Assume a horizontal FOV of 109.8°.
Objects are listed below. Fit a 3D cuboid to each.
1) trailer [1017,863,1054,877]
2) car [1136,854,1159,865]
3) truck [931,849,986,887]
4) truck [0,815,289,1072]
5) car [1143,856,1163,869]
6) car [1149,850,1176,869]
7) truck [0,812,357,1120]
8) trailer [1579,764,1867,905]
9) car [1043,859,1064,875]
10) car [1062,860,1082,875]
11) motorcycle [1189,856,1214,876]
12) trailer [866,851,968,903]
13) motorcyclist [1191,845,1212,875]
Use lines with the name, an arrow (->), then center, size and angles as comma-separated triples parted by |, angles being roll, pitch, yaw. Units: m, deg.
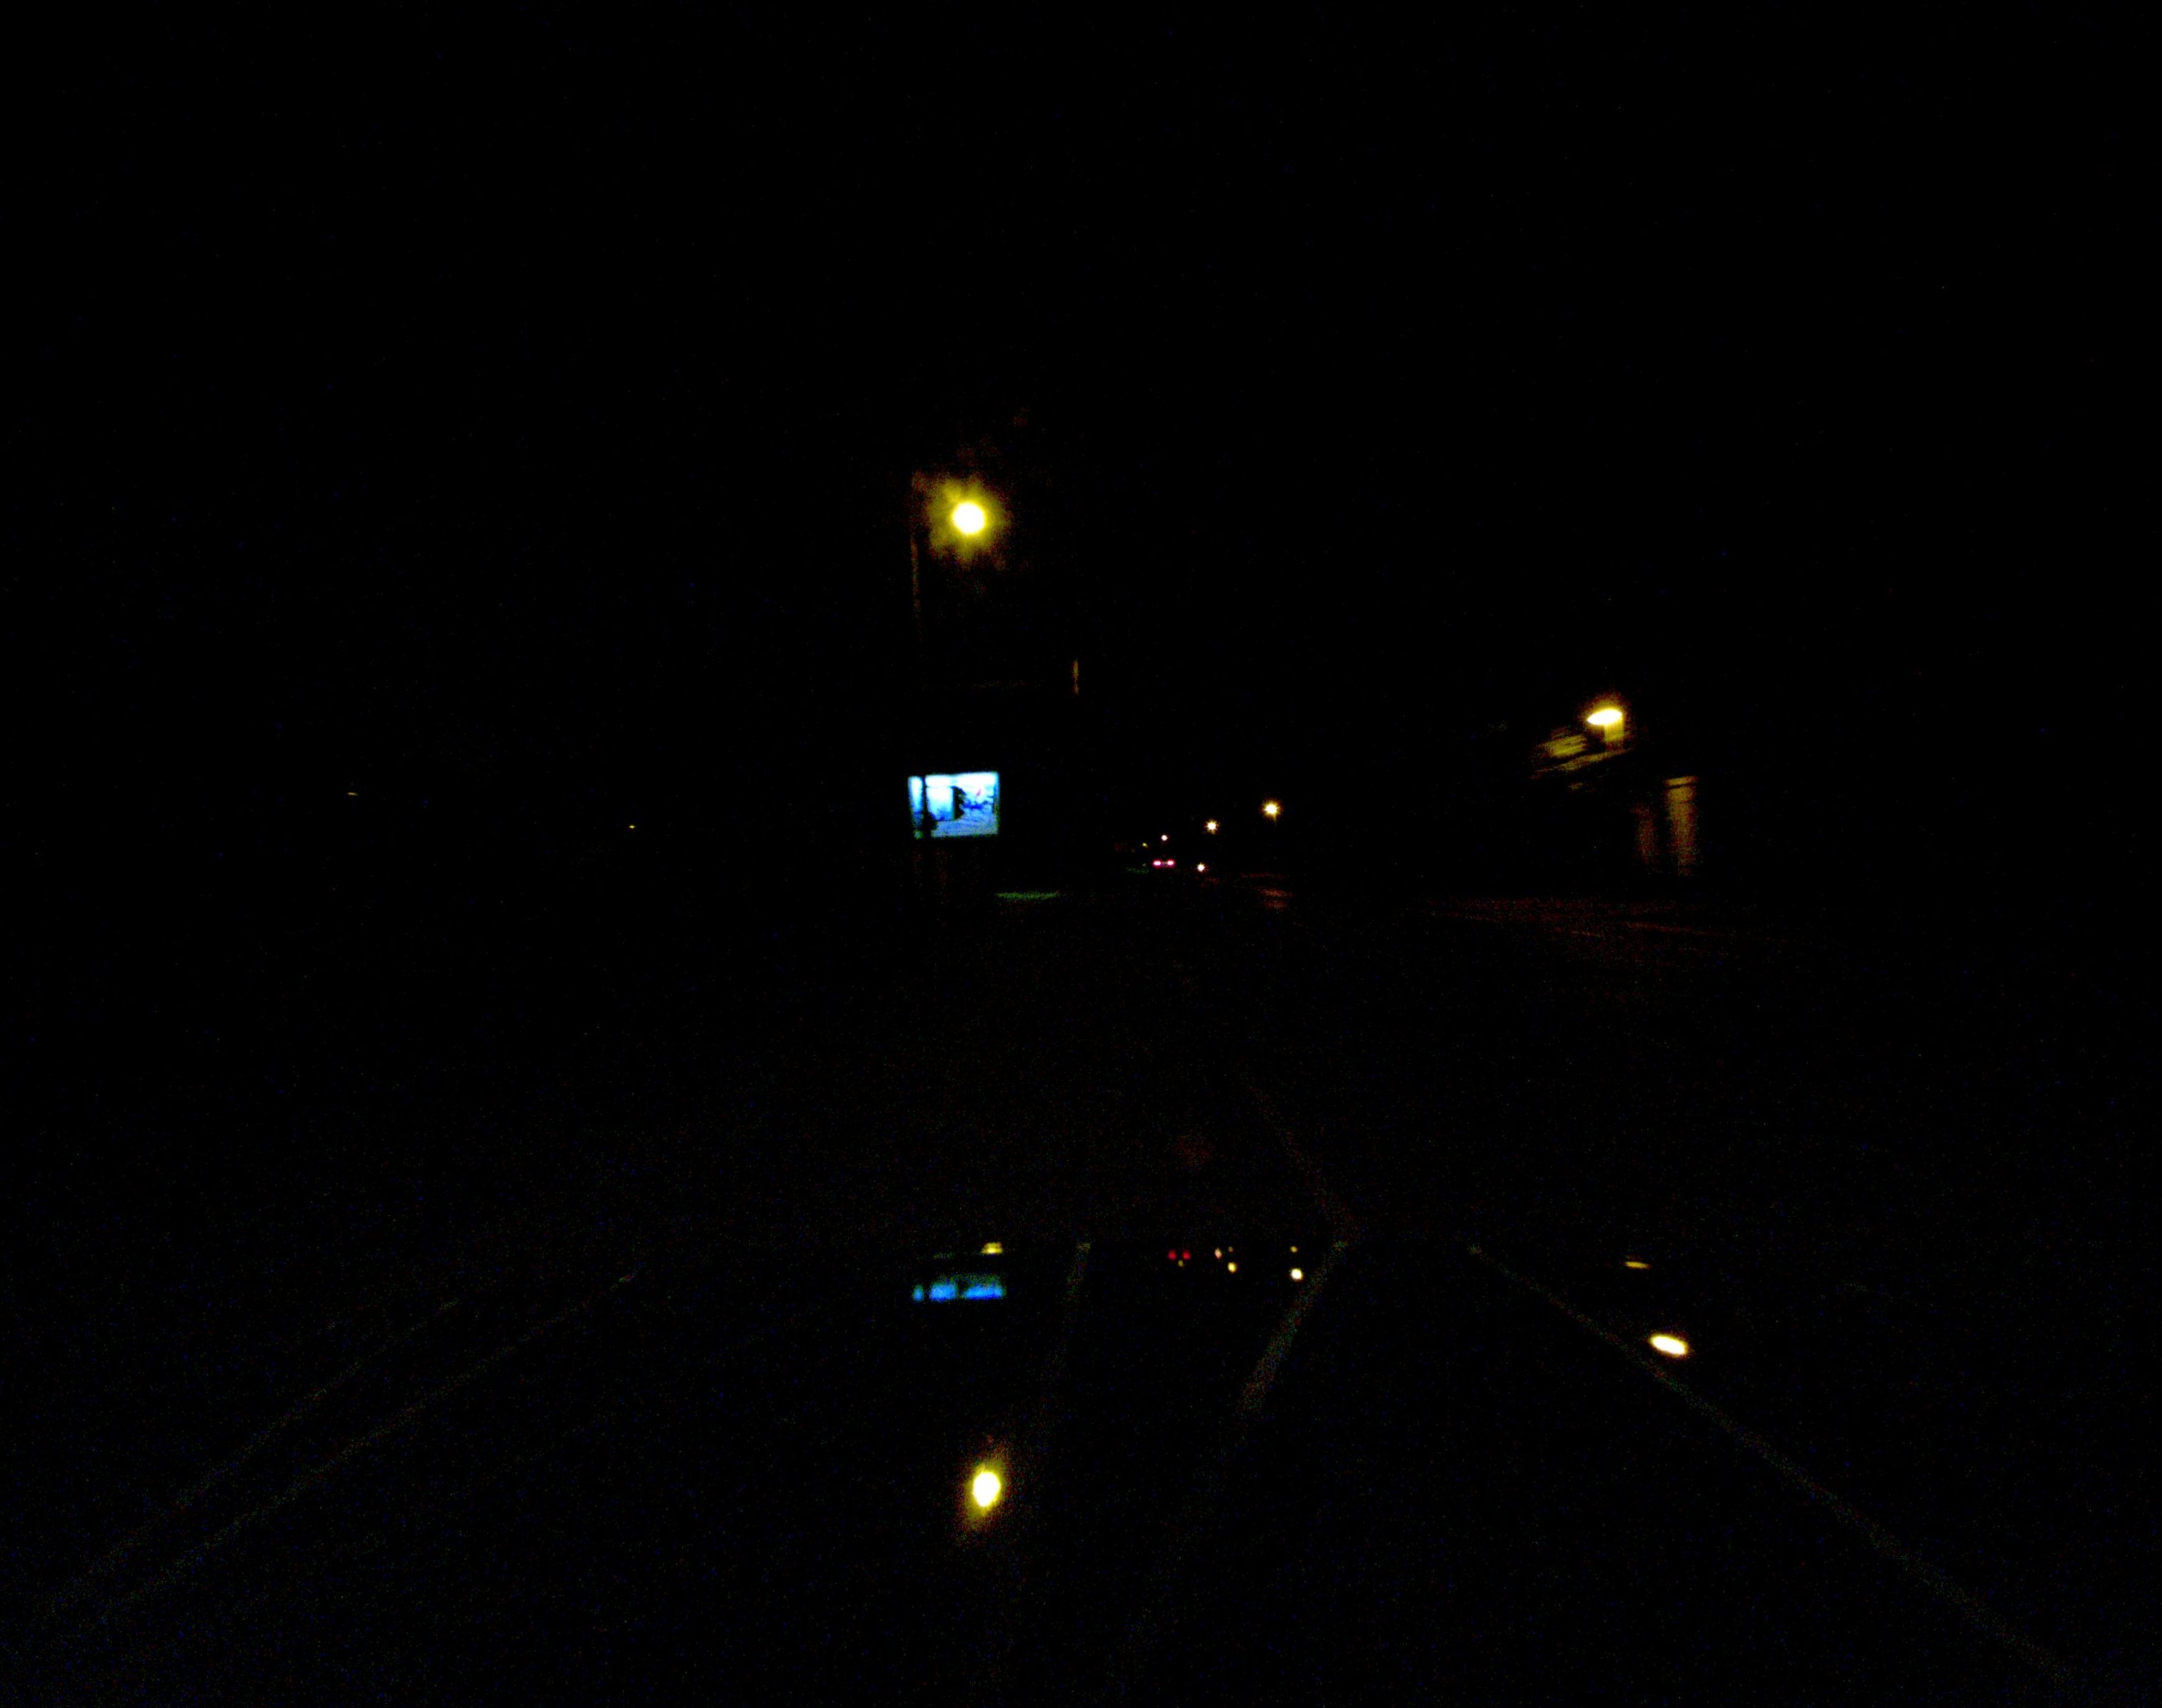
trailer -> -4.062, 1.428, 69.784 | 2.178, 0.961, 9.619 | -4, -1, 3
car -> 8.874, 0.735, 101.593 | 2.000, 1.371, 4.595 | -3, 0, -7
truck -> -8.360, 0.907, 52.626 | 2.383, 2.270, 7.744 | -3, 0, 1
truck -> -12.711, 1.016, 7.178 | 2.188, 2.732, 7.318 | -4, 0, 5
car -> 9.036, 1.052, 95.822 | 1.854, 1.436, 4.915 | -3, 0, -2
car -> 7.618, 0.464, 71.580 | 1.998, 1.617, 4.752 | -3, 0, 1
truck -> -9.634, 0.932, 5.056 | 2.188, 2.408, 7.318 | -4, 0, 4
trailer -> 13.454, -0.375, 16.157 | 4.359, 2.704, 2.000 | -1, 0, 1
car -> -2.910, 1.358, 78.457 | 1.940, 1.543, 3.999 | -3, 0, -4
car -> -1.051, 1.506, 86.397 | 1.999, 1.542, 4.325 | -3, -1, -4
motorcycle -> 8.030, 0.791, 50.713 | 1.000, 1.297, 2.825 | -3, 0, -4
trailer -> -6.587, 0.929, 30.441 | 3.750, 2.001, 1.617 | -2, -1, 26
motorcyclist -> 8.014, 0.394, 50.719 | 1.137, 1.889, 0.833 | -3, 0, -5
